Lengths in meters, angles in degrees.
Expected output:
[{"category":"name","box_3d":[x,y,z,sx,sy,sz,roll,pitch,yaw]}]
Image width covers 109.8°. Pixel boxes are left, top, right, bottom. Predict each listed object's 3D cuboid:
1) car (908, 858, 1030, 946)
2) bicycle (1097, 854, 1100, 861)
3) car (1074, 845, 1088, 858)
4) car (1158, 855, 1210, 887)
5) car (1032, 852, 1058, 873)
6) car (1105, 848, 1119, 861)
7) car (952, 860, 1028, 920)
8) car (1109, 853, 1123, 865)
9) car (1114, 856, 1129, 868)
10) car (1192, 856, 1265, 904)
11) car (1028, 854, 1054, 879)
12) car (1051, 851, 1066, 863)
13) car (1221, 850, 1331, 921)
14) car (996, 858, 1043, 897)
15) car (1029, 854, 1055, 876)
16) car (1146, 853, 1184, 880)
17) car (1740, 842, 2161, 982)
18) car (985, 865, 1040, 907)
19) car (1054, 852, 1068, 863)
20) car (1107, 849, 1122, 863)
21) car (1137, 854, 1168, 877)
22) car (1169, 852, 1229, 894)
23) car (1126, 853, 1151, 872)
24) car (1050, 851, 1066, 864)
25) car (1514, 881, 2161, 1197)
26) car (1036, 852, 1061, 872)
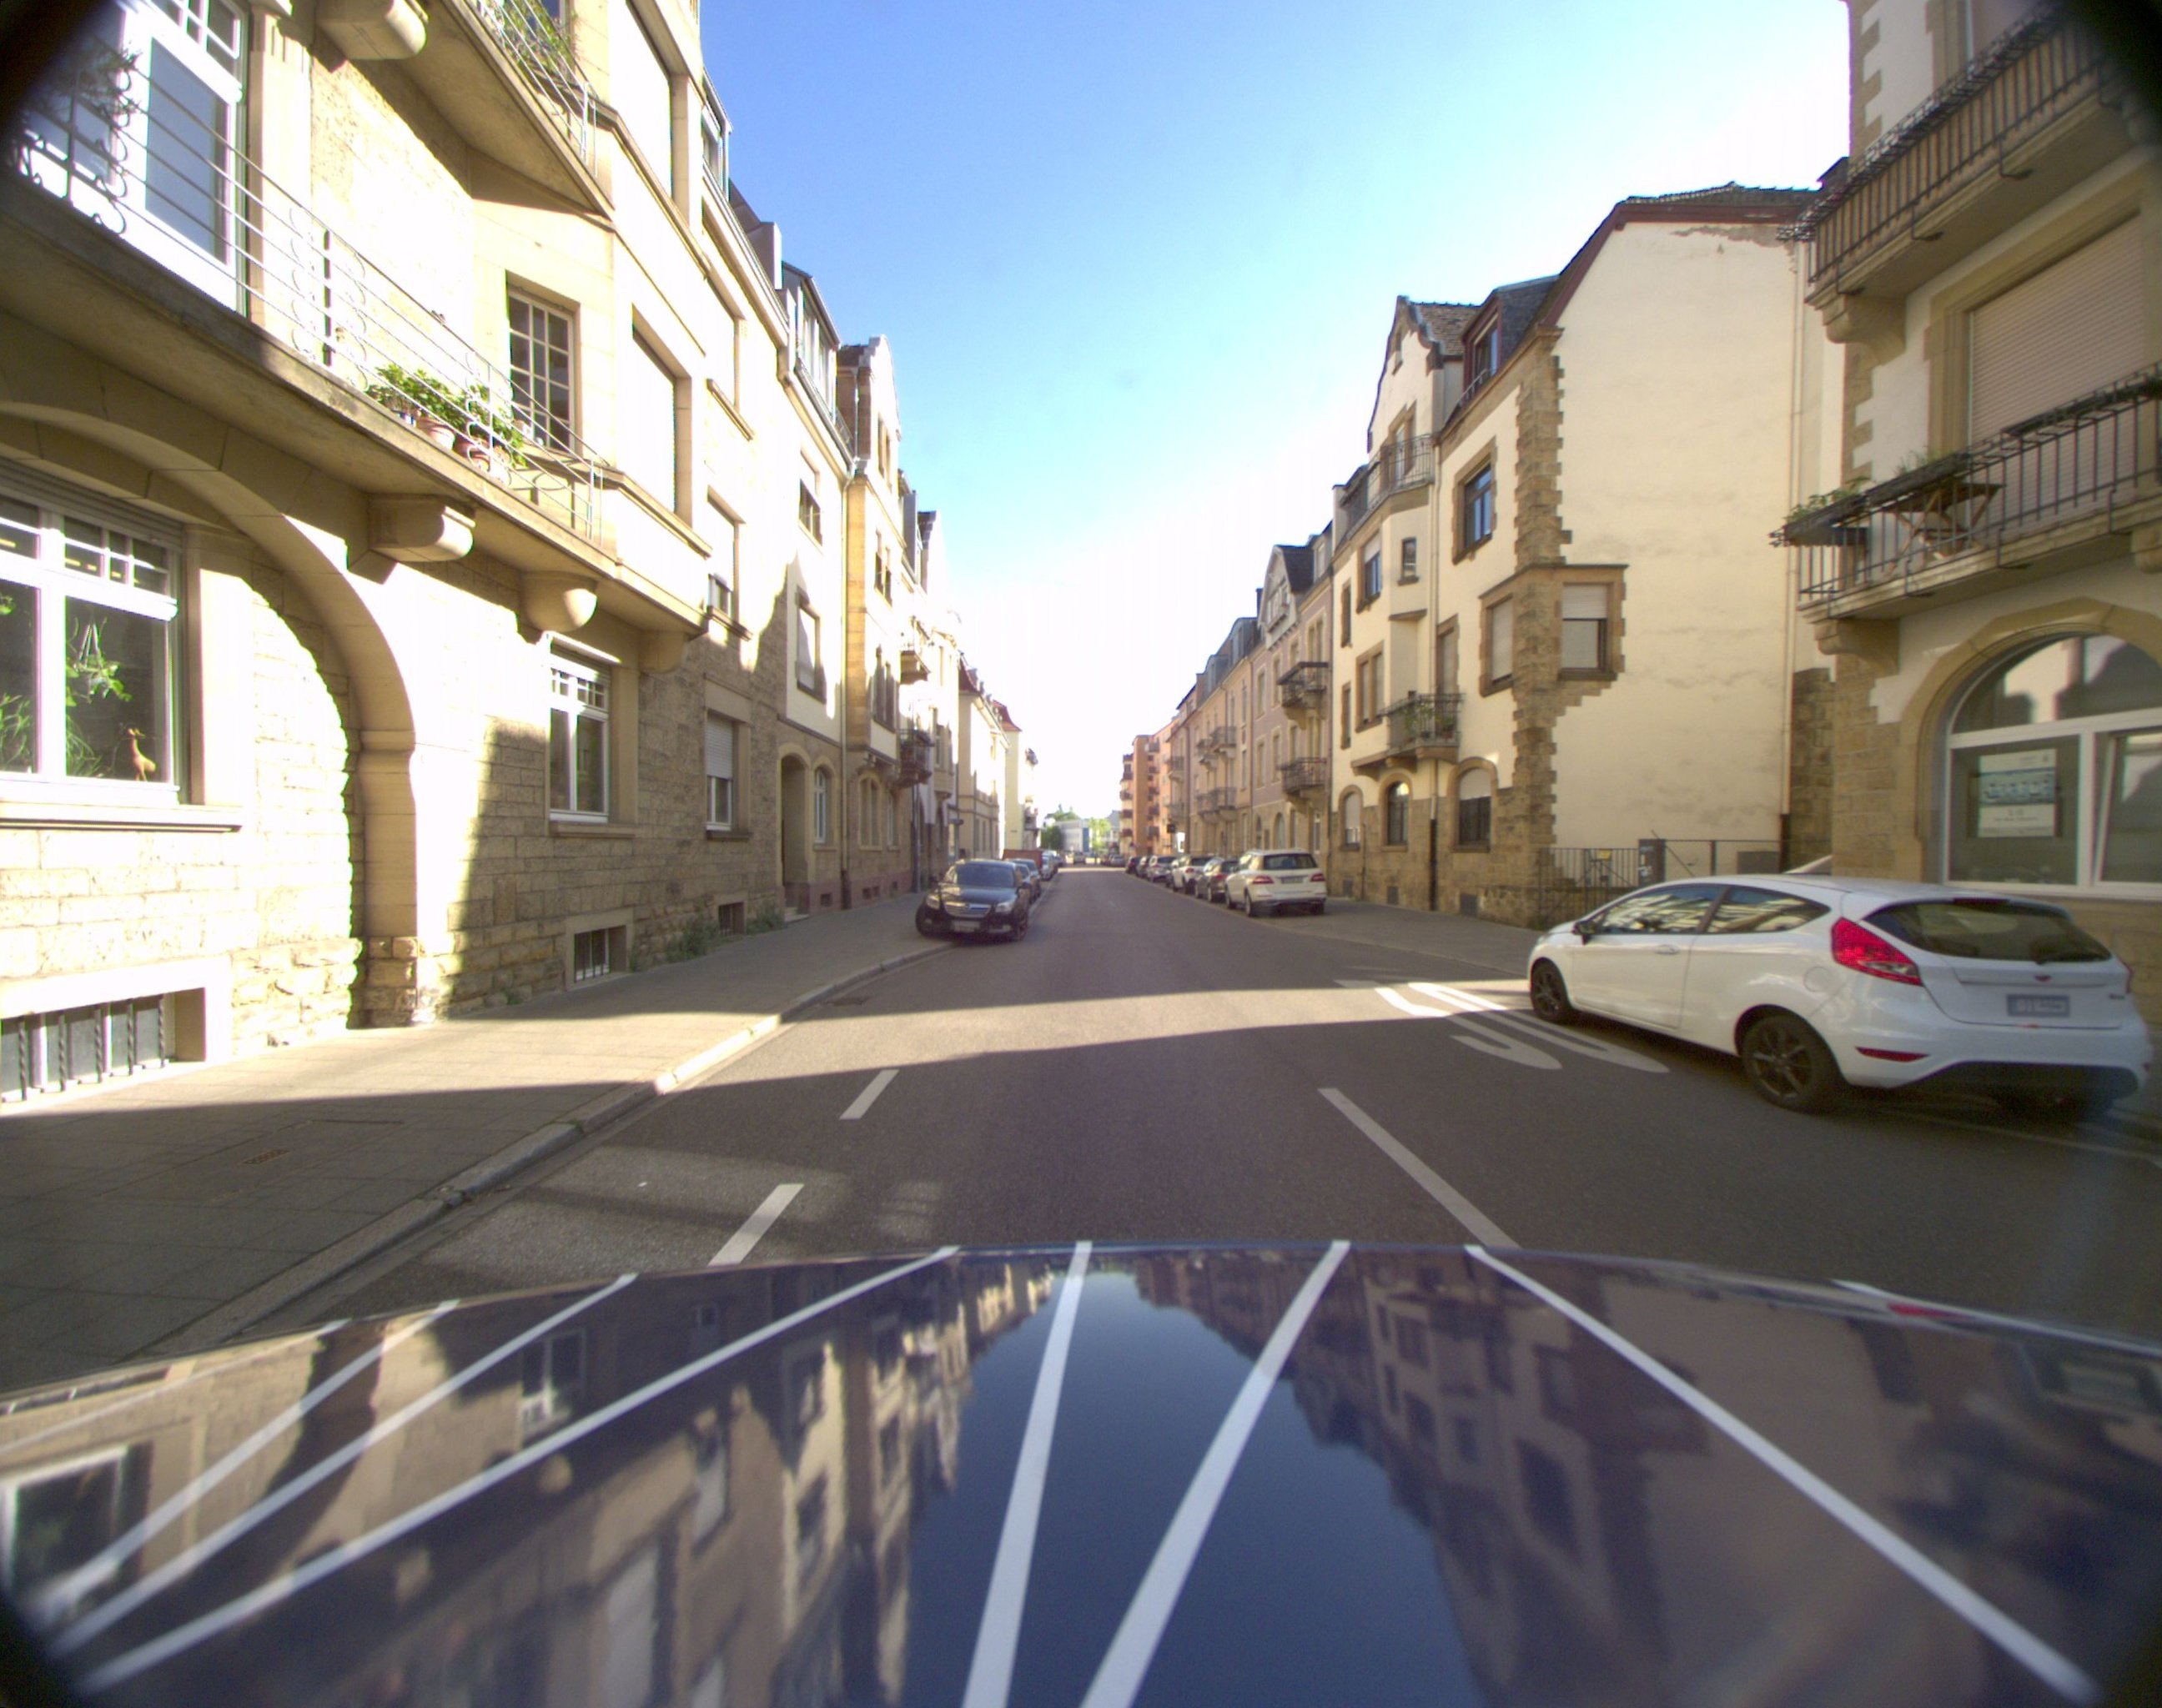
[{"category":"car","box_3d":[-2.072,0.847,15.298,1.870,1.454,4.338,0,0,-1]},{"category":"bicycle","box_3d":[2.540,0.475,110.624,0.541,1.070,1.800,0,0,1]},{"category":"car","box_3d":[0.006,-0.401,115.195,1.868,1.925,4.598,0,0,-3]},{"category":"car","box_3d":[5.035,0.804,37.569,1.677,1.385,3.664,-3,0,-5]},{"category":"car","box_3d":[-2.766,0.603,59.086,1.684,1.537,3.914,1,0,1]},{"category":"car","box_3d":[4.330,0.087,107.670,1.822,1.867,4.111,0,0,0]},{"category":"car","box_3d":[-2.385,0.905,20.897,1.655,1.434,4.257,1,0,-1]},{"category":"car","box_3d":[4.413,0.614,96.134,1.678,1.414,3.285,1,0,0]},{"category":"car","box_3d":[4.847,0.934,91.122,1.678,1.414,3.500,0,0,0]},{"category":"car","box_3d":[5.079,0.859,26.672,1.578,1.479,4.279,-2,0,-2]},{"category":"car","box_3d":[-2.475,0.747,47.630,1.590,1.456,3.711,0,0,-2]},{"category":"car","box_3d":[-2.761,0.338,93.352,1.708,1.417,3.721,1,1,-1]},{"category":"car","box_3d":[5.210,0.757,20.923,1.896,1.712,4.726,-1,0,1]},{"category":"car","box_3d":[-2.449,0.888,30.640,1.791,1.421,3.806,0,0,-4]},{"category":"car","box_3d":[-2.673,0.739,53.017,1.657,1.456,4.093,0,0,-1]},{"category":"car","box_3d":[4.998,0.700,45.699,1.719,1.529,3.722,-1,0,-2]},{"category":"car","box_3d":[11.832,0.721,10.383,3.978,1.718,1.909,0,0,0]},{"category":"car","box_3d":[-2.285,1.038,26.221,1.697,1.247,3.940,-1,0,-3]},{"category":"car","box_3d":[-2.656,0.409,99.702,1.708,1.417,3.721,0,0,-2]},{"category":"car","box_3d":[4.449,0.216,101.974,1.822,1.867,4.110,0,0,0]},{"category":"car","box_3d":[4.891,0.754,52.392,1.719,1.512,4.109,1,0,-1]},{"category":"car","box_3d":[4.916,0.744,32.185,1.719,1.574,4.019,-3,0,-2]},{"category":"car","box_3d":[4.721,0.676,62.678,1.719,1.378,3.864,-3,0,0]},{"category":"car","box_3d":[-2.618,0.384,87.888,1.708,1.417,3.721,1,1,-1]},{"category":"car","box_3d":[5.114,1.017,5.763,1.637,1.455,3.735,0,1,2]},{"category":"car","box_3d":[-2.648,0.640,63.519,1.791,1.655,4.434,0,0,1]}]
